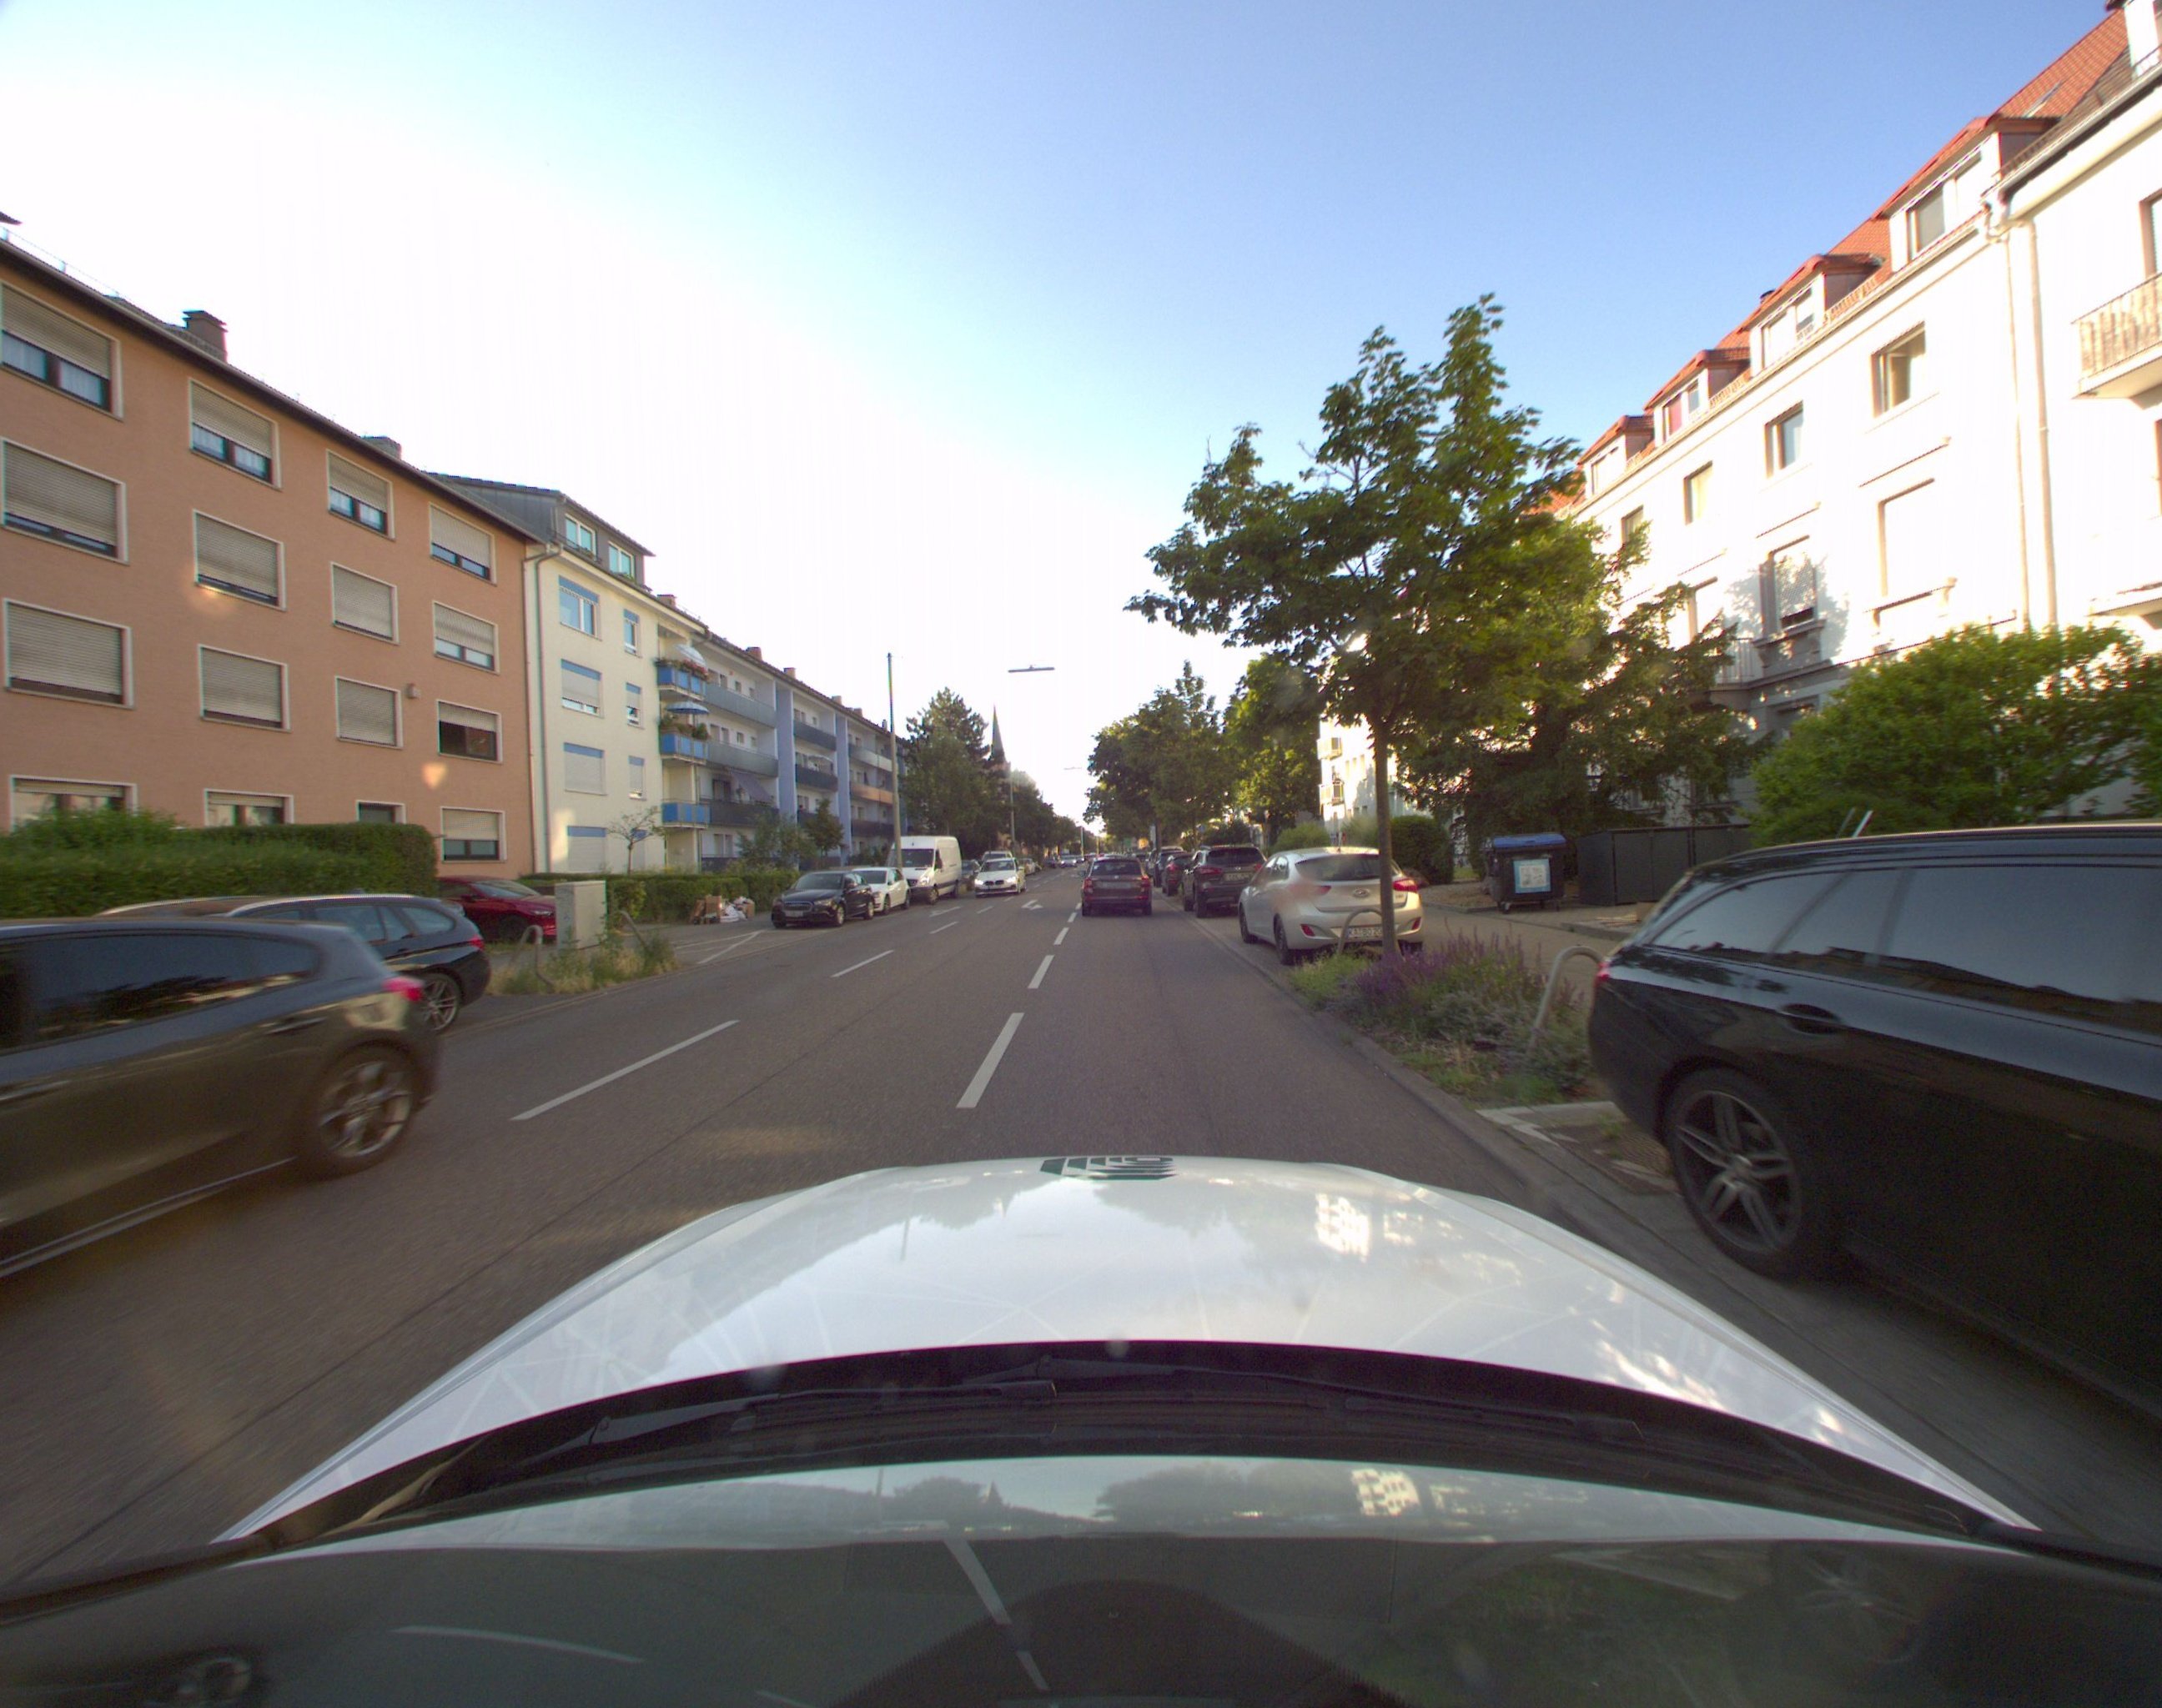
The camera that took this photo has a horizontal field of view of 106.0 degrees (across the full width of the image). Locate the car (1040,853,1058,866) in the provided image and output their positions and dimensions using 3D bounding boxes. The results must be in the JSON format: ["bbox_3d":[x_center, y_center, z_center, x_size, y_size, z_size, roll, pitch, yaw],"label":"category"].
[{"bbox_3d":[-3.909,0.674,99.326,1.773,1.480,4.037,0,0,4],"label":"car"}]

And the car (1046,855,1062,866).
[{"bbox_3d":[-3.630,0.832,111.846,1.773,1.480,3.975,0,0,4],"label":"car"}]

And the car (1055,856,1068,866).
[{"bbox_3d":[-3.059,1.119,128.011,1.773,1.480,3.975,0,0,4],"label":"car"}]

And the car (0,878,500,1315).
[{"bbox_3d":[-4.656,0.923,3.064,1.694,1.470,4.295,-3,0,2],"label":"car"}]

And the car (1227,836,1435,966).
[{"bbox_3d":[3.380,0.564,11.940,1.712,1.494,4.394,-2,0,1],"label":"car"}]

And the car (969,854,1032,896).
[{"bbox_3d":[-3.336,0.846,34.489,1.872,1.543,4.271,-5,0,3],"label":"car"}]

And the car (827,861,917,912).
[{"bbox_3d":[-6.676,0.985,26.442,1.700,1.492,4.060,1,0,2],"label":"car"}]

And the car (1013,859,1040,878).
[{"bbox_3d":[-4.416,1.126,66.465,1.611,1.480,3.876,0,0,4],"label":"car"}]

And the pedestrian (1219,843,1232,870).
[{"bbox_3d":[9.636,0.166,54.214,0.793,1.721,0.746,-3,0,10],"label":"pedestrian"}]

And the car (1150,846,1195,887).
[{"bbox_3d":[4.056,0.543,36.761,1.747,1.662,4.256,-3,0,3],"label":"car"}]

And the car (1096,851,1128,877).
[{"bbox_3d":[1.944,0.651,51.042,1.885,1.506,3.790,2,-1,1],"label":"car"}]

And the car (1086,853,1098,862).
[{"bbox_3d":[1.784,0.552,131.719,1.776,1.480,3.969,0,0,-1],"label":"car"}]

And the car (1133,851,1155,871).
[{"bbox_3d":[5.317,0.567,68.801,1.747,1.686,4.256,0,0,3],"label":"car"}]

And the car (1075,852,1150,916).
[{"bbox_3d":[0.870,0.713,21.119,1.747,1.492,4.004,0,0,3],"label":"car"}]

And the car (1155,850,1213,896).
[{"bbox_3d":[3.671,0.652,29.551,1.607,1.466,3.960,-3,0,1],"label":"car"}]

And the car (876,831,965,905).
[{"bbox_3d":[-6.271,0.504,32.743,1.986,2.616,7.107,-1,0,1],"label":"car"}]

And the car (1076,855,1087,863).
[{"bbox_3d":[0.121,0.953,157.227,1.733,1.479,4.310,-5,0,1],"label":"car"}]

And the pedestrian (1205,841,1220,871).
[{"bbox_3d":[8.444,0.137,52.411,0.793,1.861,0.954,-3,0,12],"label":"pedestrian"}]

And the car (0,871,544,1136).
[{"bbox_3d":[-7.216,0.965,7.188,1.772,1.505,4.590,-2,0,2],"label":"car"}]

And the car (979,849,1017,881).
[{"bbox_3d":[-5.644,0.727,55.896,1.862,2.031,5.302,-1,0,1],"label":"car"}]

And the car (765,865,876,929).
[{"bbox_3d":[-6.725,1.060,21.457,1.606,1.473,3.814,0,0,1],"label":"car"}]

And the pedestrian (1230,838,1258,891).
[{"bbox_3d":[5.345,0.330,26.717,0.784,1.700,0.809,-1,-1,6],"label":"pedestrian"}]

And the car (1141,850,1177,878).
[{"bbox_3d":[4.792,0.579,50.695,1.749,1.556,4.251,-3,0,0],"label":"car"}]

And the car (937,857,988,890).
[{"bbox_3d":[-6.072,0.980,42.258,1.665,1.543,4.477,-2,0,3],"label":"car"}]

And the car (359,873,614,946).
[{"bbox_3d":[-12.429,1.127,17.222,3.972,1.413,1.917,0,0,2],"label":"car"}]

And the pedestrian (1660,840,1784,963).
[{"bbox_3d":[6.750,0.483,8.615,0.670,1.235,0.791,-1,-1,2],"label":"pedestrian"}]

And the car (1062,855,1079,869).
[{"bbox_3d":[-1.243,0.925,98.405,1.774,1.494,3.973,-4,0,2],"label":"car"}]

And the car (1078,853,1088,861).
[{"bbox_3d":[0.405,0.631,181.911,1.989,1.750,3.995,-2,0,-3],"label":"car"}]

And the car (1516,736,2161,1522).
[{"bbox_3d":[3.080,0.507,1.758,1.866,1.581,4.825,-3,0,3],"label":"car"}]

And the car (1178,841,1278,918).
[{"bbox_3d":[3.404,0.551,19.606,1.712,1.601,4.097,-2,0,1],"label":"car"}]

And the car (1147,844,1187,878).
[{"bbox_3d":[4.789,0.399,45.936,1.794,1.808,4.423,0,0,0],"label":"car"}]

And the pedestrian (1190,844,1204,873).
[{"bbox_3d":[7.572,0.312,53.231,0.746,1.861,1.068,-3,0,1],"label":"pedestrian"}]

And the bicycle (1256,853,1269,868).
[{"bbox_3d":[11.627,0.399,52.245,0.473,0.944,1.681,-3,0,1],"label":"bicycle"}]

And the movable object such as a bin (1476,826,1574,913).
[{"bbox_3d":[8.345,0.289,15.378,1.259,1.492,1.143,-4,-1,11],"label":"movable object such as a bin"}]

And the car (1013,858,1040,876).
[{"bbox_3d":[-4.765,1.143,71.855,1.773,1.494,3.975,0,0,4],"label":"car"}]

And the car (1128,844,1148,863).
[{"bbox_3d":[5.968,-0.032,85.242,1.908,1.860,5.638,-2,0,3],"label":"car"}]

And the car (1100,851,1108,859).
[{"bbox_3d":[5.172,0.235,183.088,1.641,1.599,3.645,-2,0,-3],"label":"car"}]

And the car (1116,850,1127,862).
[{"bbox_3d":[6.688,0.342,133.396,1.747,1.806,4.002,0,0,2],"label":"car"}]
